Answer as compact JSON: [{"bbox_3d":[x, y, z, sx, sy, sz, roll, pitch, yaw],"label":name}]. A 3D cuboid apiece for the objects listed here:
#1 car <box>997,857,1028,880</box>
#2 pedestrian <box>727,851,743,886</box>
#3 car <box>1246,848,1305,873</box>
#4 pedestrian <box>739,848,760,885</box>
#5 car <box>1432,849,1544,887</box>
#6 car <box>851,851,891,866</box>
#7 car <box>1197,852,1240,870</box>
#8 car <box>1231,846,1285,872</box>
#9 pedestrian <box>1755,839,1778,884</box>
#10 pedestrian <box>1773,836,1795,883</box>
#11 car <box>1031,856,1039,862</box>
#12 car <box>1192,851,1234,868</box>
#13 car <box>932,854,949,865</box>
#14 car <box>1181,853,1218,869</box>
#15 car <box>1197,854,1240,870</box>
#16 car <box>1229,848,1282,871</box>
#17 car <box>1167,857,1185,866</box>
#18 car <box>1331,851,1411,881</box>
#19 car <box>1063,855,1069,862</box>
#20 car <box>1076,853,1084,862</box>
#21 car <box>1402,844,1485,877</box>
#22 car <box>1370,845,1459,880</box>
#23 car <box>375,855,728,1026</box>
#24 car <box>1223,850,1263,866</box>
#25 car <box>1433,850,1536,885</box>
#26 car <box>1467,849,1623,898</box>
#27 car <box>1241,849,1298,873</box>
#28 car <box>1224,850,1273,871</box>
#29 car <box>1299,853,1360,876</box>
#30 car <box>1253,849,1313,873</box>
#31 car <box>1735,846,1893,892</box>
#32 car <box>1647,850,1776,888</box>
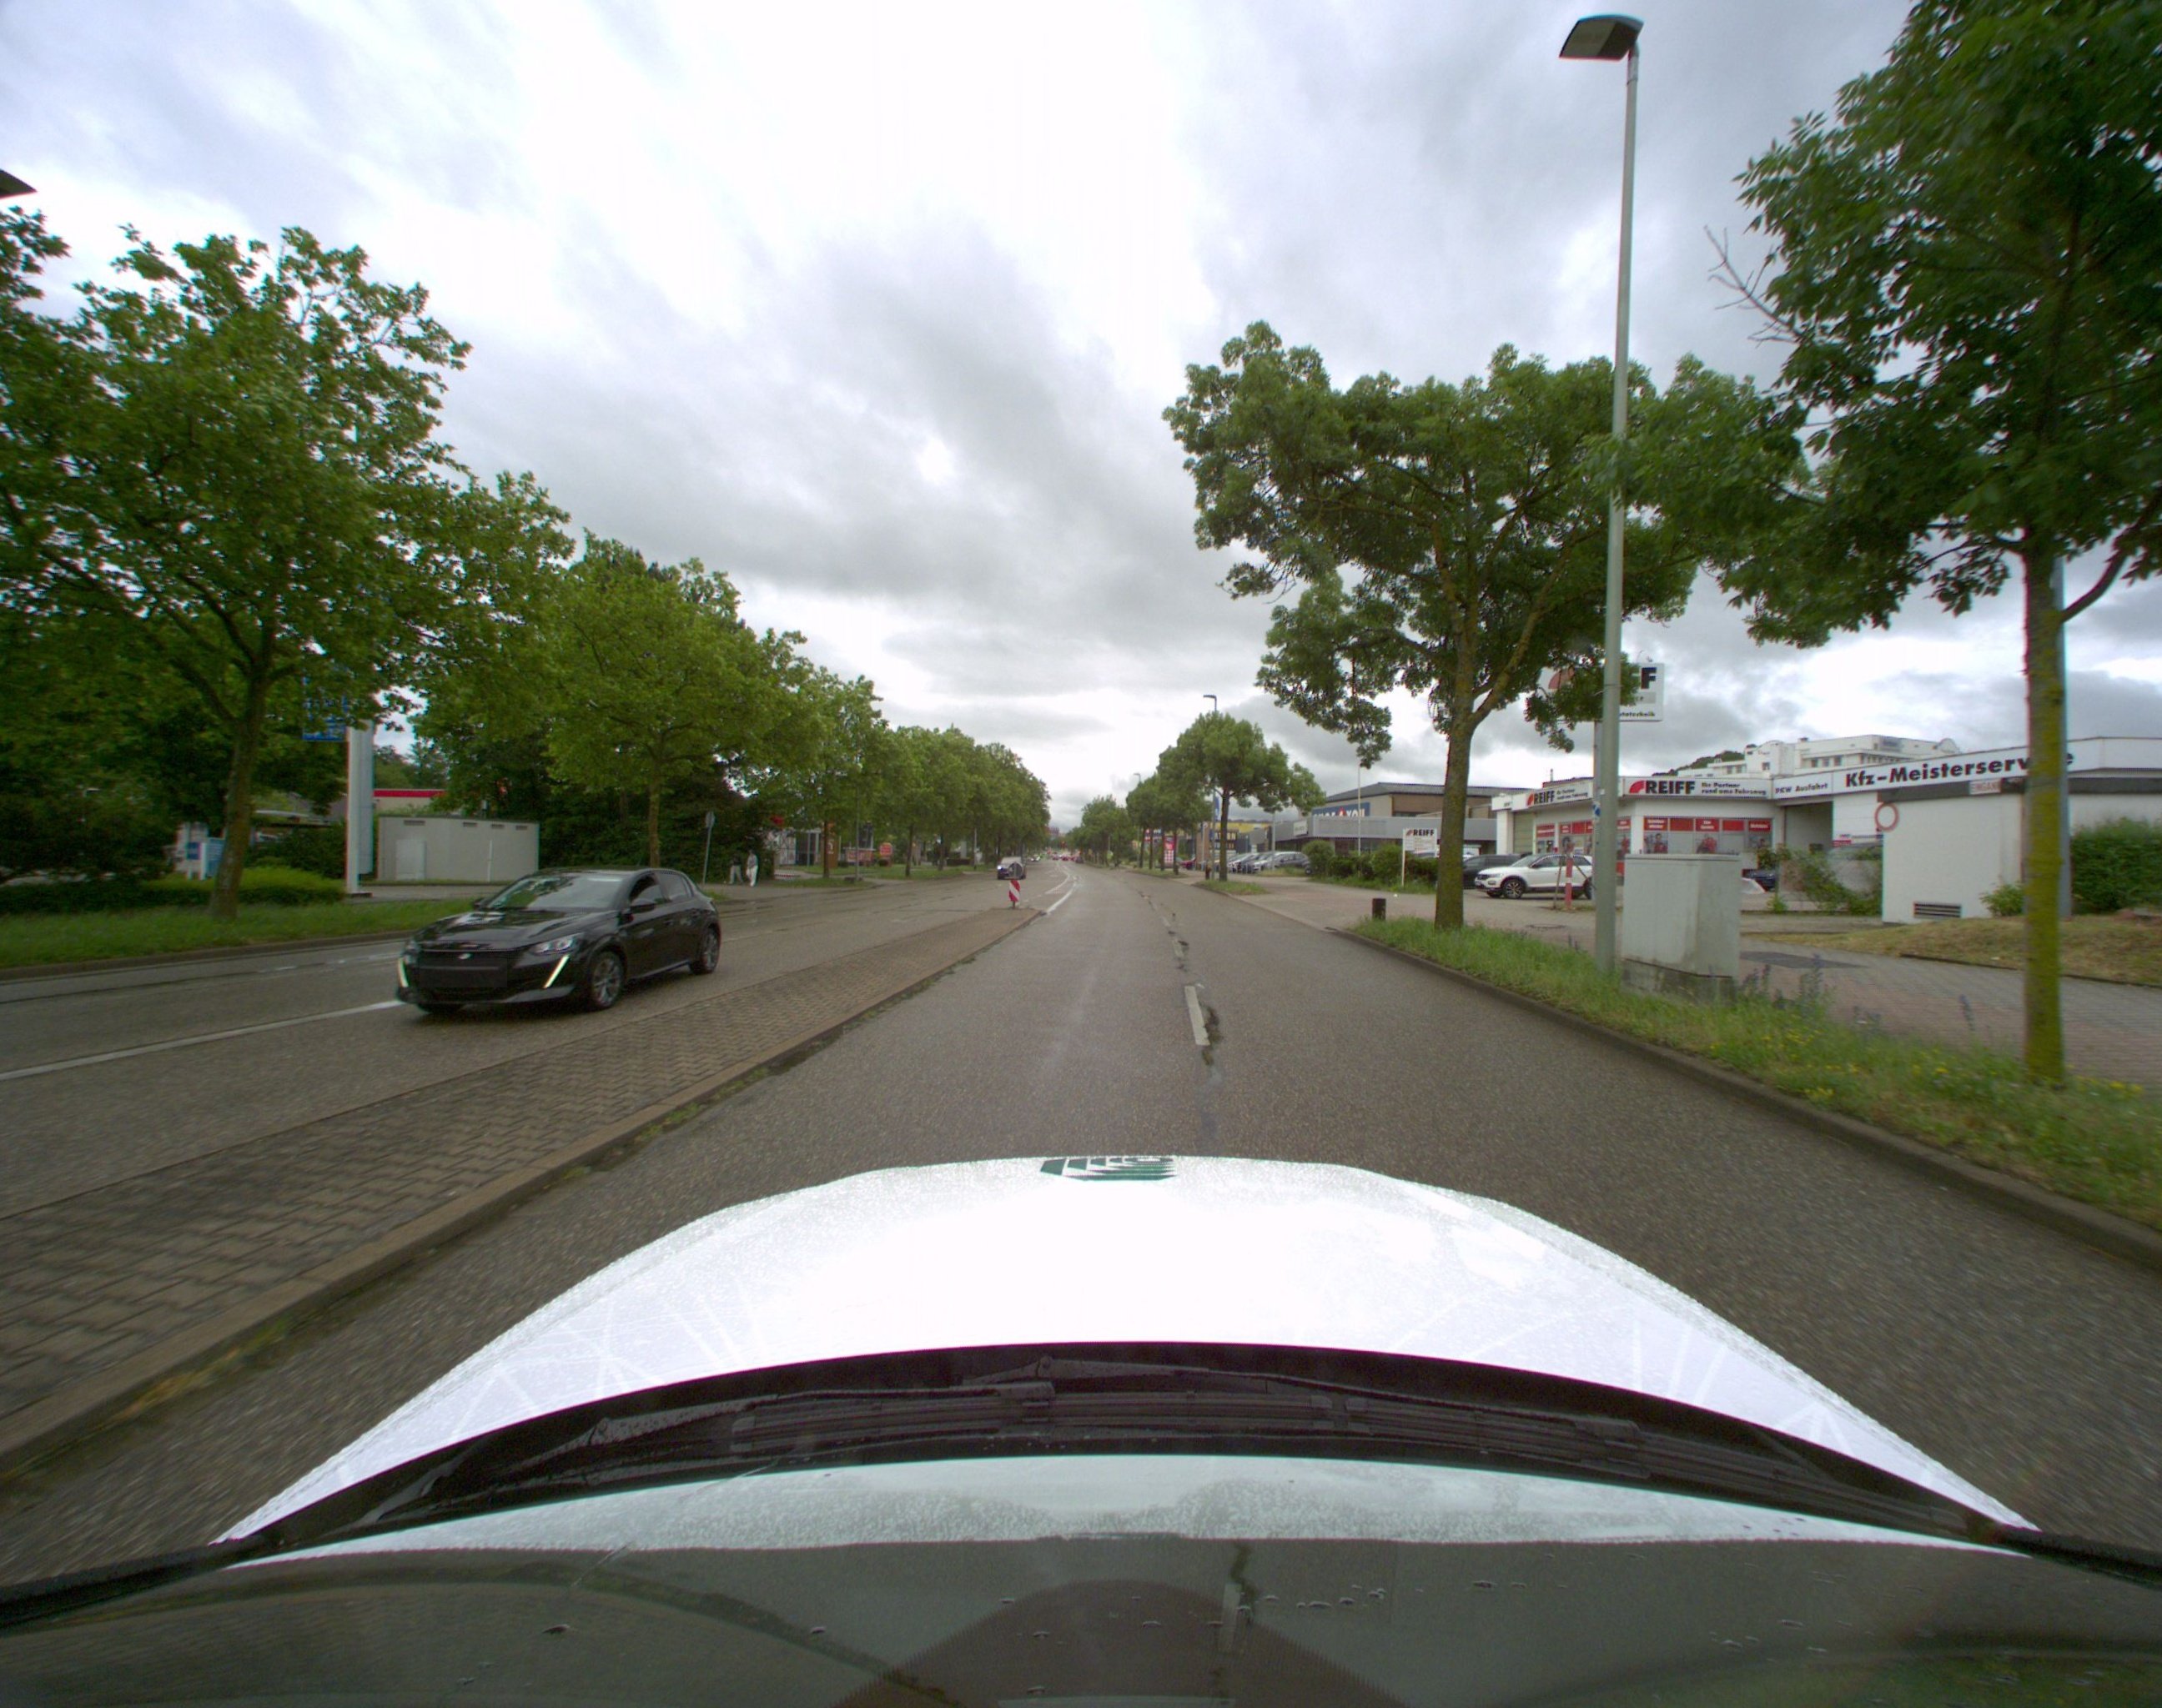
[{"bbox_3d":[-4.847,1.018,58.198,1.805,1.562,4.598,0,-1,1],"label":"car"},{"bbox_3d":[-16.860,0.690,39.681,0.510,1.683,0.540,0,0,0],"label":"pedestrian"},{"bbox_3d":[14.862,0.495,62.367,3.973,1.543,1.812,-4,0,0],"label":"car"},{"bbox_3d":[-16.099,0.584,39.582,0.659,1.767,0.586,1,0,22],"label":"pedestrian"},{"bbox_3d":[17.175,0.595,34.527,3.959,1.522,1.724,-1,0,13],"label":"car"},{"bbox_3d":[-19.131,0.428,74.205,3.159,1.155,1.293,3,0,6],"label":"car"},{"bbox_3d":[13.605,0.676,80.455,3.831,1.566,1.664,-3,0,-4],"label":"car"},{"bbox_3d":[14.434,0.402,66.623,3.973,1.786,1.812,-4,0,0],"label":"car"},{"bbox_3d":[26.100,0.297,30.992,0.439,1.705,0.512,0,-1,-26],"label":"pedestrian"},{"bbox_3d":[27.064,0.222,31.341,0.434,1.785,0.518,0,-1,16],"label":"pedestrian"},{"bbox_3d":[-11.796,1.385,210.009,1.799,1.463,3.844,-1,0,-1],"label":"car"},{"bbox_3d":[13.737,0.575,84.855,3.976,1.647,1.844,-2,0,-1],"label":"car"},{"bbox_3d":[-18.803,0.766,109.226,1.819,1.486,3.935,0,0,-3],"label":"car"},{"bbox_3d":[13.172,0.771,90.786,3.830,1.603,1.794,-2,0,-2],"label":"car"},{"bbox_3d":[13.898,0.793,82.384,3.976,1.538,1.799,0,0,-2],"label":"car"},{"bbox_3d":[14.839,0.482,69.487,3.978,1.587,1.810,-5,1,-3],"label":"car"},{"bbox_3d":[15.309,1.189,131.176,1.578,1.428,4.249,0,0,-11],"label":"car"},{"bbox_3d":[15.891,0.648,44.702,4.021,1.597,1.994,-1,0,19],"label":"car"},{"bbox_3d":[-4.649,1.444,256.523,1.739,2.014,3.999,0,0,0],"label":"car"},{"bbox_3d":[-0.205,0.788,188.488,1.739,2.014,3.999,0,0,0],"label":"car"},{"bbox_3d":[23.919,0.412,53.768,4.640,2.149,1.964,0,0,-2],"label":"car"},{"bbox_3d":[16.994,0.434,41.594,4.105,1.662,1.831,0,1,23],"label":"car"},{"bbox_3d":[-5.564,0.772,9.227,1.640,1.508,3.888,0,0,-4],"label":"car"},{"bbox_3d":[18.013,0.446,90.710,4.092,1.621,1.882,-1,0,2],"label":"car"},{"bbox_3d":[18.235,0.600,36.978,3.900,1.523,1.739,-1,0,13],"label":"car"},{"bbox_3d":[15.436,0.628,27.284,4.151,1.552,1.894,0,0,7],"label":"car"},{"bbox_3d":[14.909,0.559,64.576,3.973,1.585,1.812,-4,0,0],"label":"car"},{"bbox_3d":[14.841,0.599,72.219,3.973,1.786,1.812,0,0,0],"label":"car"},{"bbox_3d":[17.101,0.716,56.131,3.668,1.464,1.793,-1,0,-1],"label":"car"},{"bbox_3d":[14.788,0.522,59.669,3.823,1.461,1.826,-4,0,-2],"label":"car"},{"bbox_3d":[26.171,0.527,29.192,3.970,1.579,1.777,-1,0,3],"label":"car"},{"bbox_3d":[25.518,0.610,33.053,3.833,1.479,1.787,0,-1,1],"label":"car"}]
